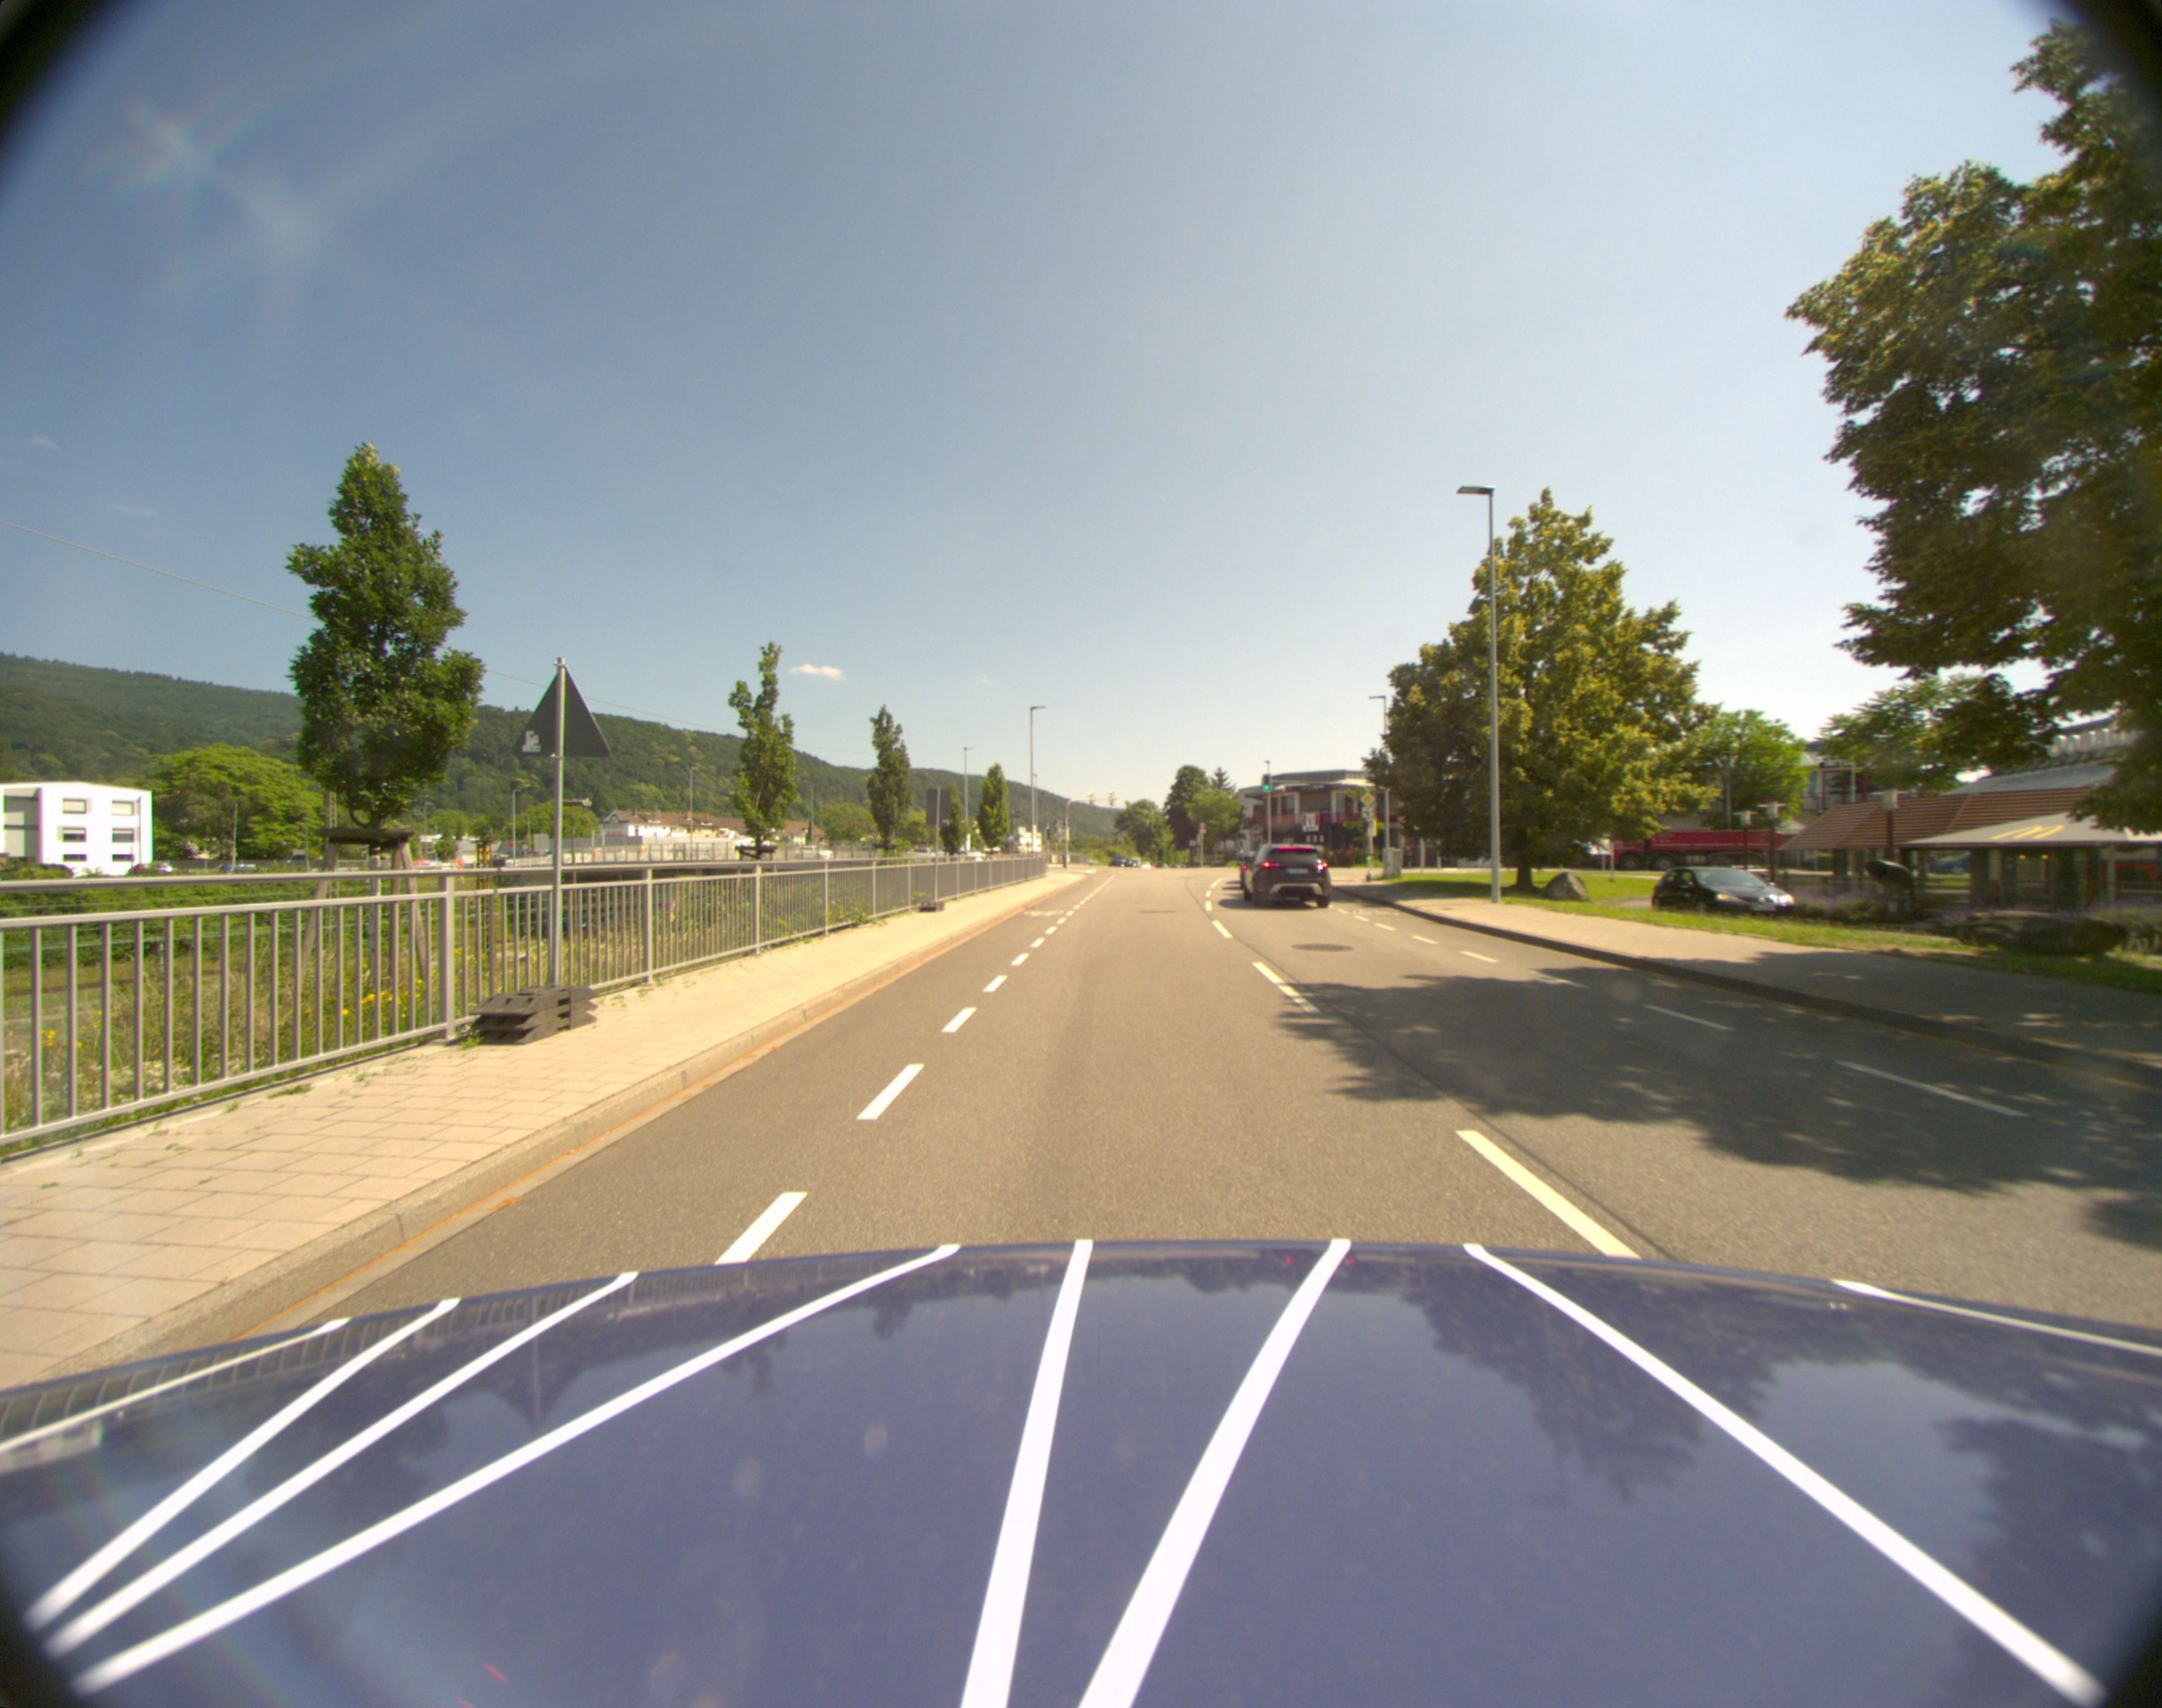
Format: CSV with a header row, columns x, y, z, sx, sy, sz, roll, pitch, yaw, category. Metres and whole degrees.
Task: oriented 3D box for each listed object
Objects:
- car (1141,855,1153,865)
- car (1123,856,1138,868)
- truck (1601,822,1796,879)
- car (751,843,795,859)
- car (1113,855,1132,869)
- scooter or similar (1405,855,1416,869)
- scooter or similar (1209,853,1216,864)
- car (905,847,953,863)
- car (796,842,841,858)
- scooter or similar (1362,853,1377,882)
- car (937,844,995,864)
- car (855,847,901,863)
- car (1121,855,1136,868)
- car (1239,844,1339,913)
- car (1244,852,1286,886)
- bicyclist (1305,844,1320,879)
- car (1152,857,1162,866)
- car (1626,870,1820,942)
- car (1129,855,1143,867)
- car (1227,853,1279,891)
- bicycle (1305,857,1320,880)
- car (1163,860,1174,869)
x,y,z,sx,sy,sz,roll,pitch,yaw,category
10.340,0.858,118.779,1.671,1.524,4.002,0,0,8,car
6.613,1.056,101.214,1.671,1.524,4.002,0,0,8,car
38.663,-0.174,48.146,9.144,3.366,3.321,0,0,28,truck
-33.235,-0.305,81.926,4.432,1.617,1.739,-1,0,22,car
4.959,0.970,91.336,1.828,1.618,4.240,0,0,9,car
26.963,0.651,62.179,0.499,1.117,1.507,0,1,37,scooter or similar
13.016,0.450,75.260,0.426,1.117,1.454,0,1,23,scooter or similar
-14.461,0.085,72.426,4.398,1.461,1.740,0,0,28,car
-27.356,-0.366,79.115,4.431,1.617,1.740,0,1,26,car
11.996,0.545,31.622,0.472,1.177,1.367,0,1,17,scooter or similar
-9.996,-0.034,66.156,4.621,1.709,2.003,0,0,25,car
-20.268,0.086,75.781,4.430,1.617,1.740,0,1,28,car
6.046,0.949,96.501,1.671,1.524,4.002,0,0,8,car
5.582,0.602,20.946,1.954,1.685,4.615,0,0,6,car
8.695,0.635,35.832,1.782,1.488,4.727,0,0,14,car
12.026,0.386,39.496,0.711,1.778,0.810,0,1,17,bicyclist
13.538,1.312,135.912,1.671,1.427,4.002,0,0,8,car
16.374,1.247,19.721,1.863,1.543,4.190,0,0,7,car
7.714,0.909,106.376,1.671,1.625,4.002,0,0,8,car
6.827,0.661,29.892,1.658,1.373,4.005,0,0,18,car
12.030,0.734,39.506,0.698,1.098,1.757,2,1,17,bicycle
16.942,2.017,146.681,1.671,1.523,4.003,-4,0,12,car
